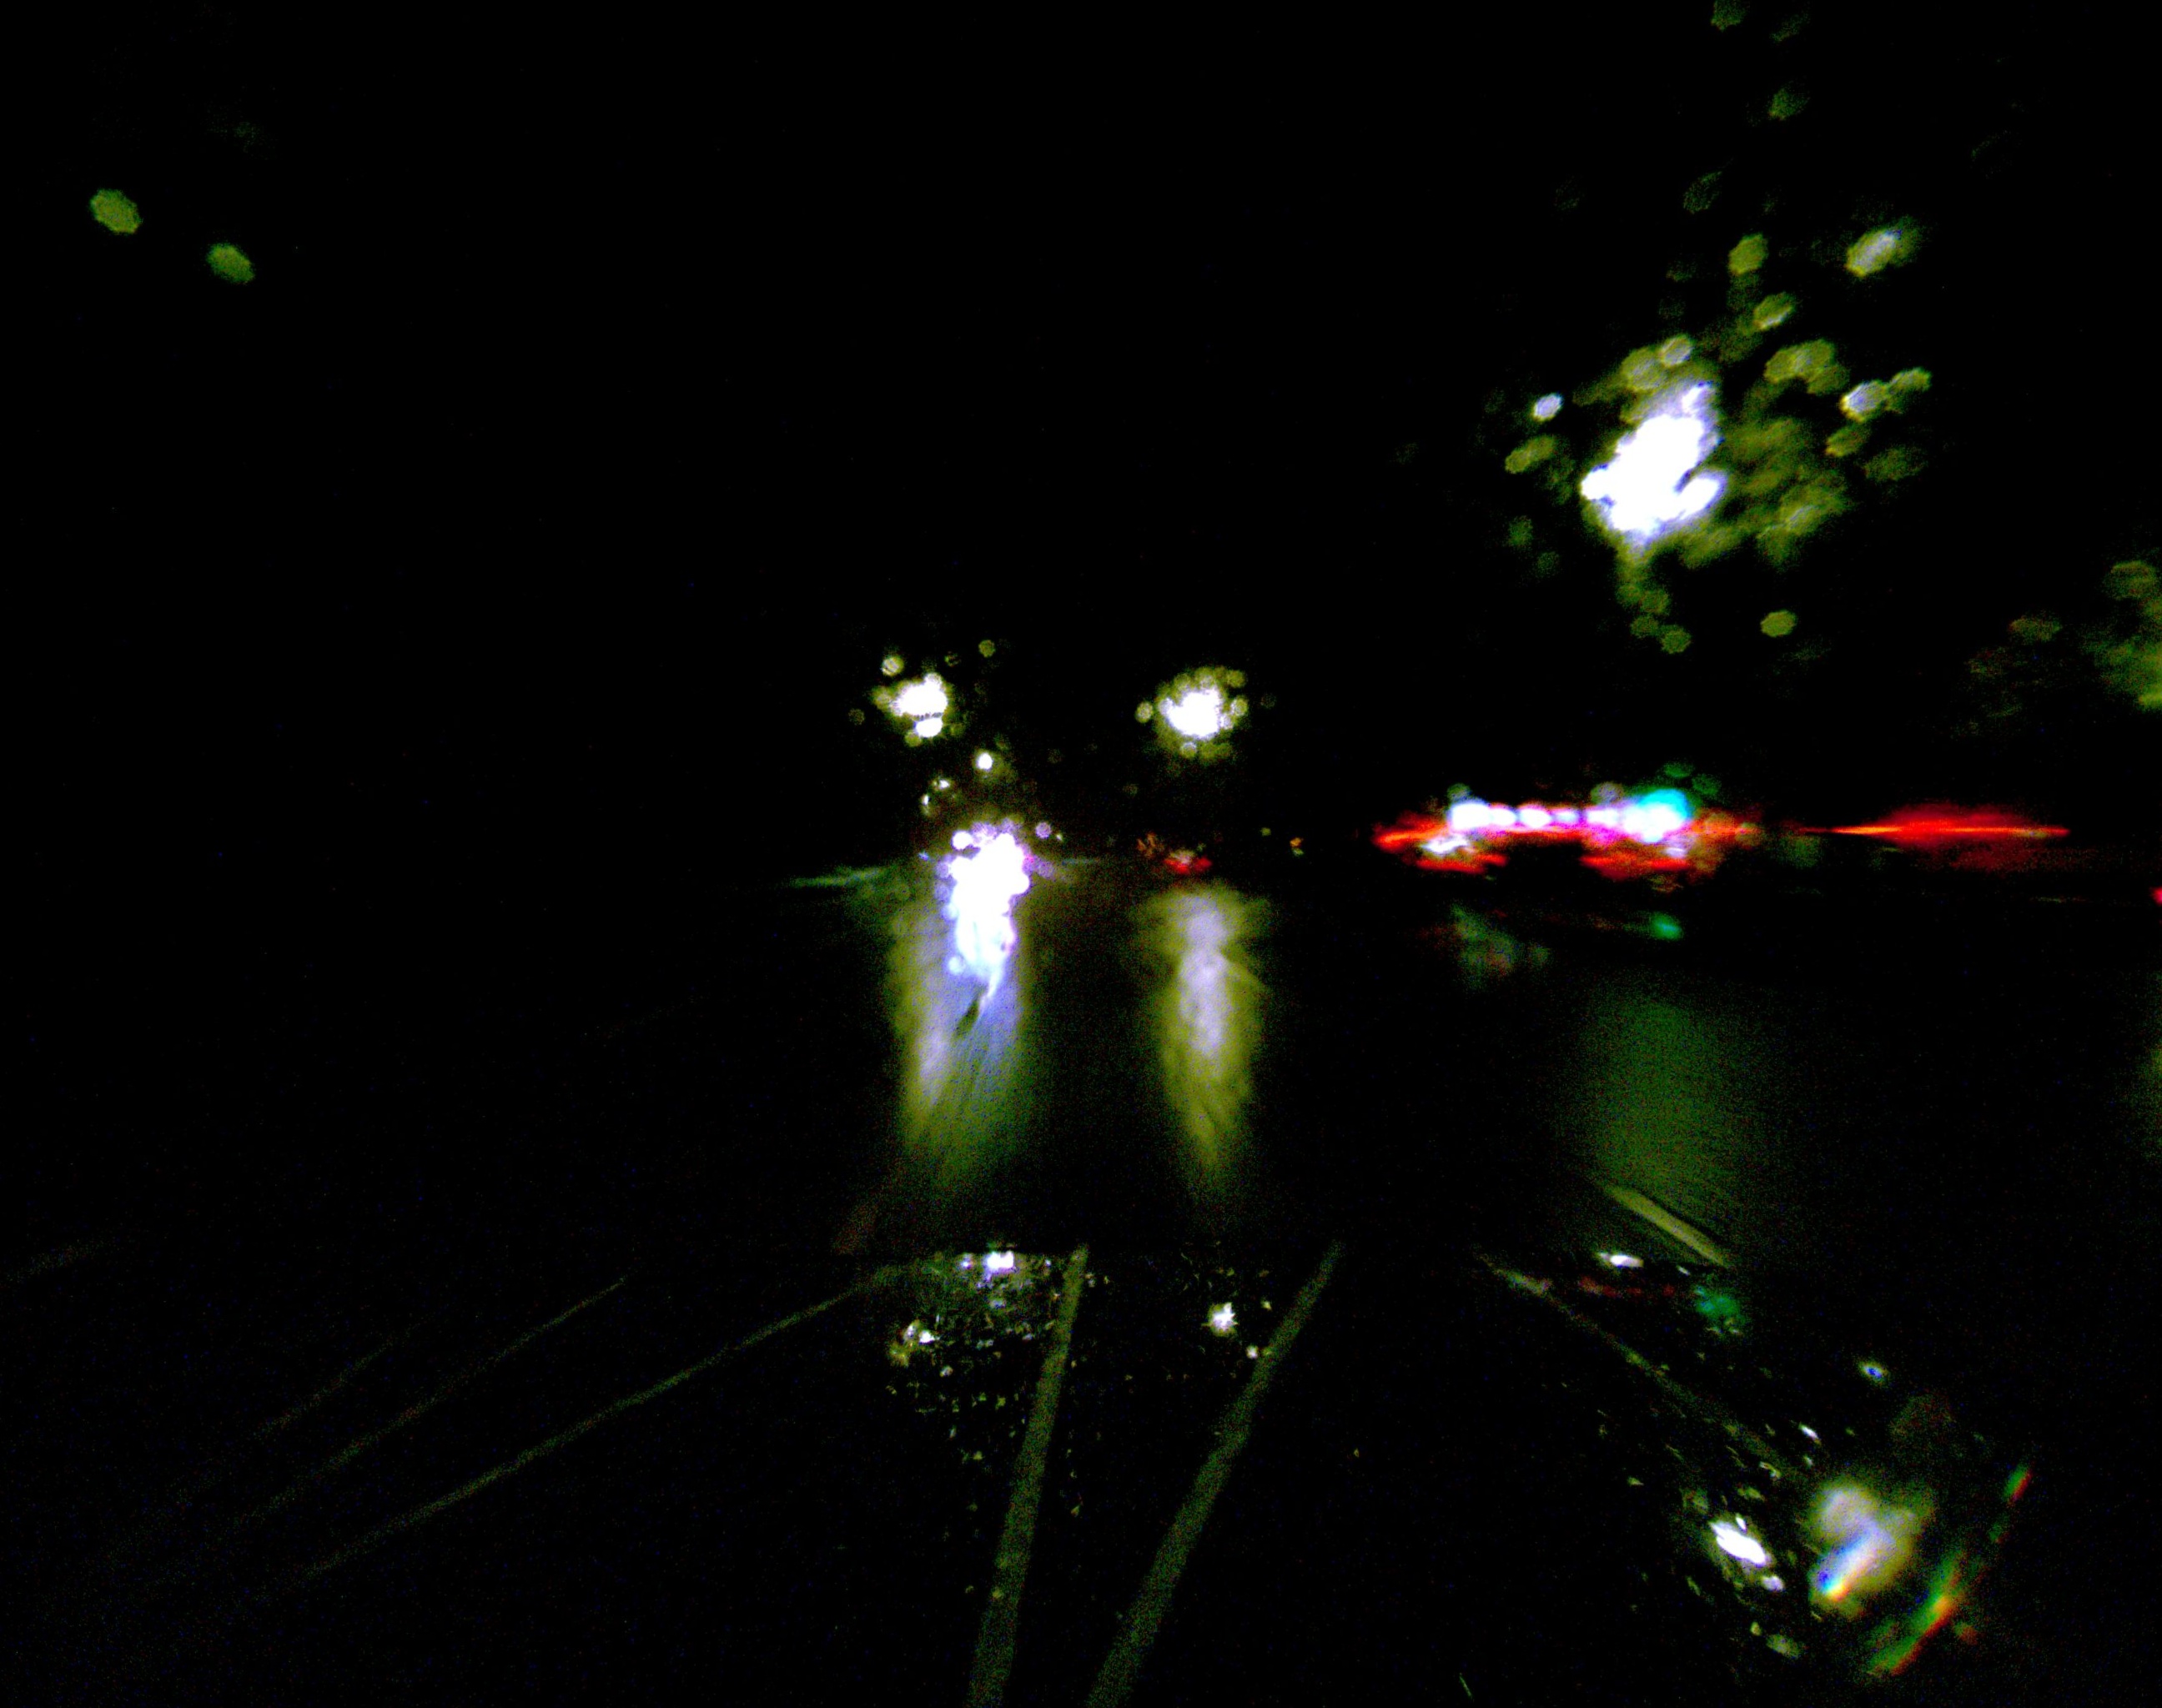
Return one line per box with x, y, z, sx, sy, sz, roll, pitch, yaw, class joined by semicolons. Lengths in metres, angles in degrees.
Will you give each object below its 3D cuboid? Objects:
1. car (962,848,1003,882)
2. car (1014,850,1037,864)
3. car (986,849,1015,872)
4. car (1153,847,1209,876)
-5.870;0.621;45.692;1.937;1.862;3.999;-2;0;-1;car
-6.176;0.332;84.295;1.833;1.495;4.182;0;0;-13;car
-7.209;0.596;67.977;2.001;1.922;3.995;2;-1;-14;car
5.330;0.368;40.852;1.771;1.449;3.948;-3;1;-11;car
